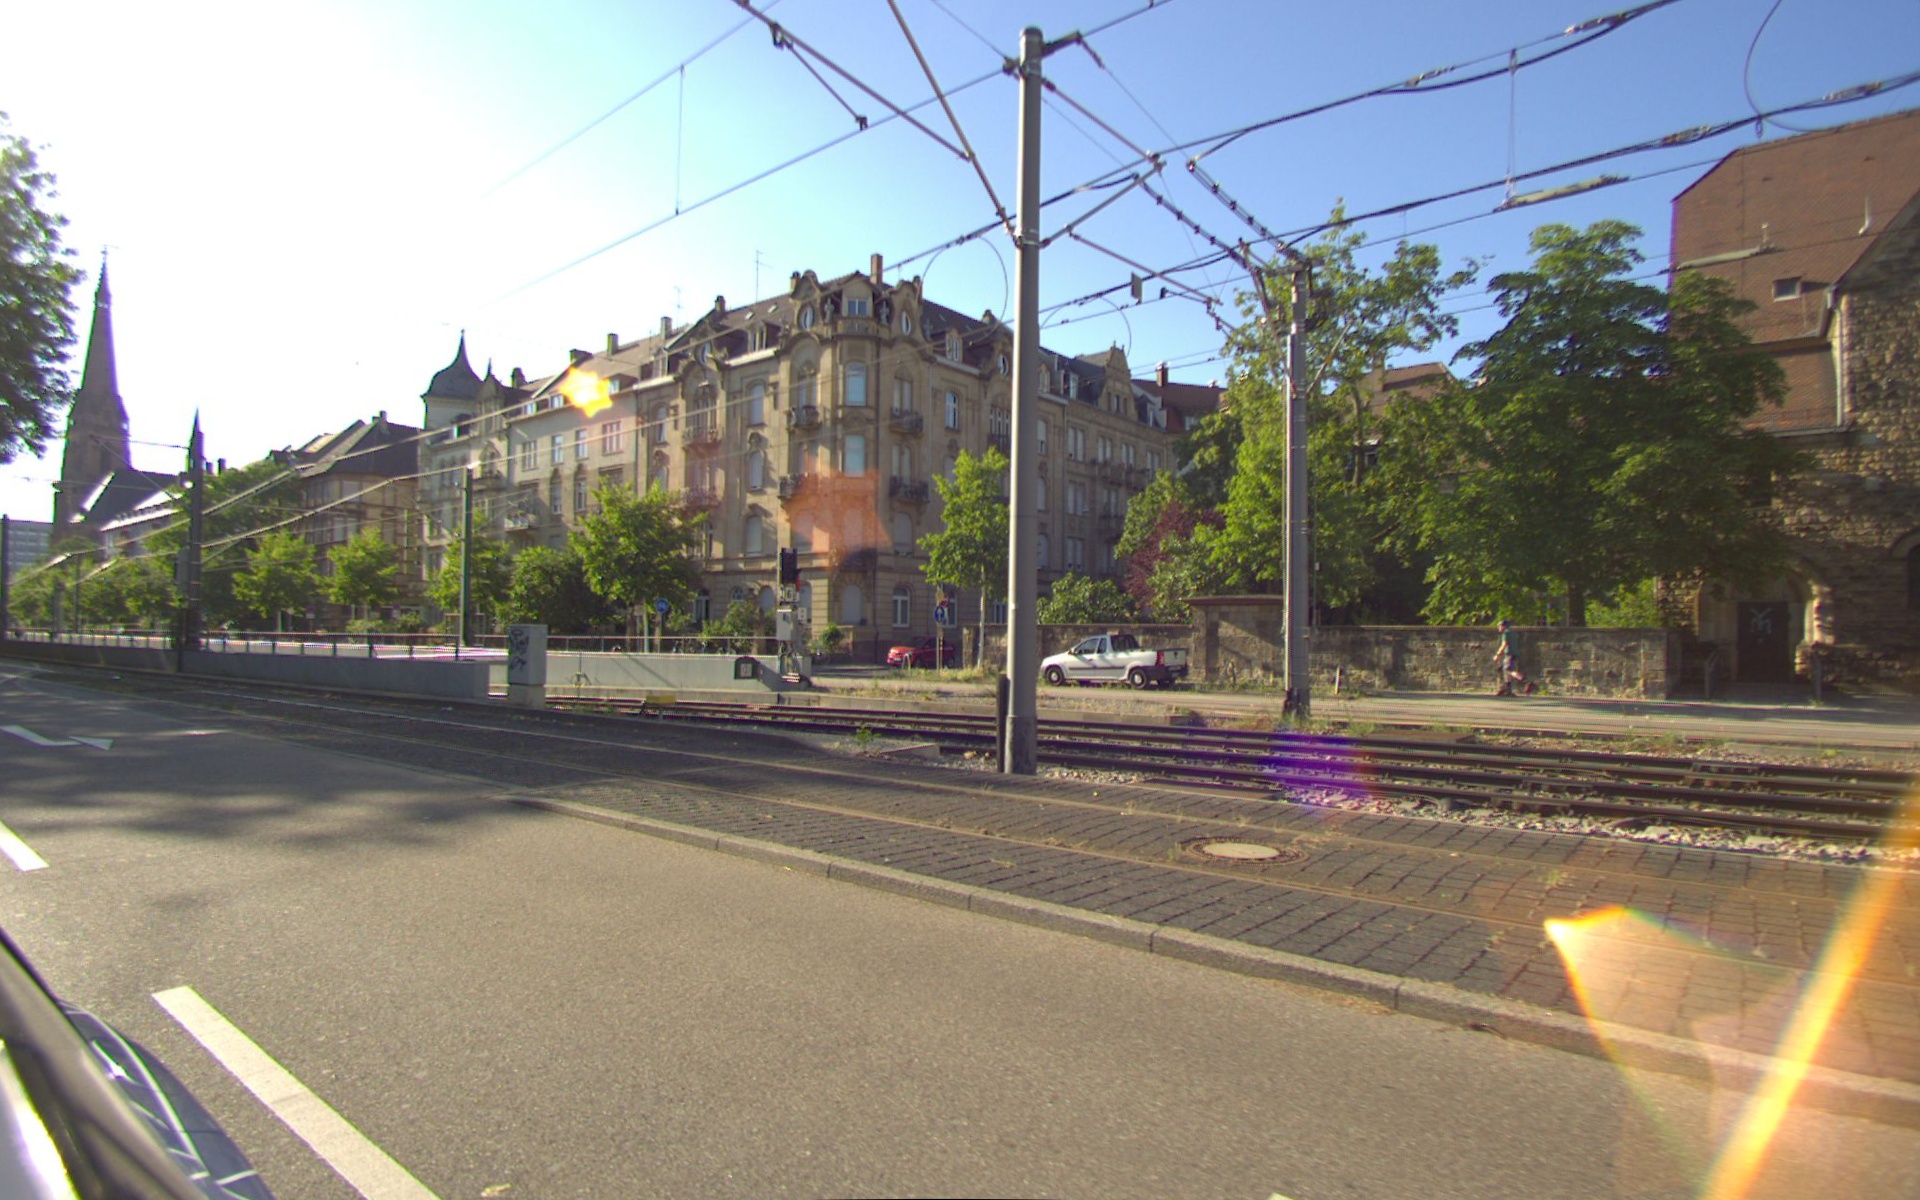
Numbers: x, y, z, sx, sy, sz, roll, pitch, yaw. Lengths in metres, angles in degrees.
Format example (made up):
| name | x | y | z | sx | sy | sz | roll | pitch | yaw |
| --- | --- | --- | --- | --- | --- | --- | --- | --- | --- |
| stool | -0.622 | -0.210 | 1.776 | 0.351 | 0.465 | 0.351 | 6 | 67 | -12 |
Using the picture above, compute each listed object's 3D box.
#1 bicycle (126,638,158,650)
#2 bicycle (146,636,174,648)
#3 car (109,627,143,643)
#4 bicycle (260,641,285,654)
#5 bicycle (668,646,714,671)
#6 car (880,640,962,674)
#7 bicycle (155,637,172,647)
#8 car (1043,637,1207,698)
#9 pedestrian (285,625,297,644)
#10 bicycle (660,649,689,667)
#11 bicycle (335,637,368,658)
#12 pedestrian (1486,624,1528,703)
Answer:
| name | x | y | z | sx | sy | sz | roll | pitch | yaw |
| --- | --- | --- | --- | --- | --- | --- | --- | --- | --- |
| bicycle | -79.773 | 4.278 | 98.778 | 0.635 | 1.107 | 2.781 | -1 | 0 | 7 |
| bicycle | -76.068 | 3.989 | 96.266 | 0.551 | 1.107 | 2.369 | -1 | 0 | 9 |
| car | -85.683 | 3.574 | 103.920 | 3.994 | 1.597 | 1.815 | -1 | 0 | 37 |
| bicycle | -58.216 | 3.995 | 85.723 | 1.922 | 1.013 | 0.454 | 2 | 0 | 9 |
| bicycle | -11.325 | 2.450 | 42.591 | 1.876 | 1.030 | 0.484 | -1 | 0 | 16 |
| car | -1.842 | 2.752 | 48.911 | 1.817 | 1.581 | 3.949 | -1 | -3 | 38 |
| bicycle | -75.533 | 4.013 | 95.949 | 0.533 | 0.912 | 1.265 | -1 | 0 | 9 |
| car | 4.727 | 1.891 | 29.424 | 4.508 | 1.567 | 1.698 | -1 | 0 | 41 |
| pedestrian | -59.605 | 3.055 | 90.136 | 0.711 | 1.701 | 0.865 | -1 | -1 | -45 |
| bicycle | -13.755 | 2.806 | 48.802 | 1.887 | 0.806 | 0.412 | -1 | -1 | 42 |
| bicycle | -39.751 | 3.101 | 66.123 | 1.711 | 1.289 | 0.600 | 3 | -3 | -45 |
| pedestrian | 13.465 | 1.549 | 24.900 | 0.756 | 1.902 | 0.599 | -2 | -1 | 42 |
